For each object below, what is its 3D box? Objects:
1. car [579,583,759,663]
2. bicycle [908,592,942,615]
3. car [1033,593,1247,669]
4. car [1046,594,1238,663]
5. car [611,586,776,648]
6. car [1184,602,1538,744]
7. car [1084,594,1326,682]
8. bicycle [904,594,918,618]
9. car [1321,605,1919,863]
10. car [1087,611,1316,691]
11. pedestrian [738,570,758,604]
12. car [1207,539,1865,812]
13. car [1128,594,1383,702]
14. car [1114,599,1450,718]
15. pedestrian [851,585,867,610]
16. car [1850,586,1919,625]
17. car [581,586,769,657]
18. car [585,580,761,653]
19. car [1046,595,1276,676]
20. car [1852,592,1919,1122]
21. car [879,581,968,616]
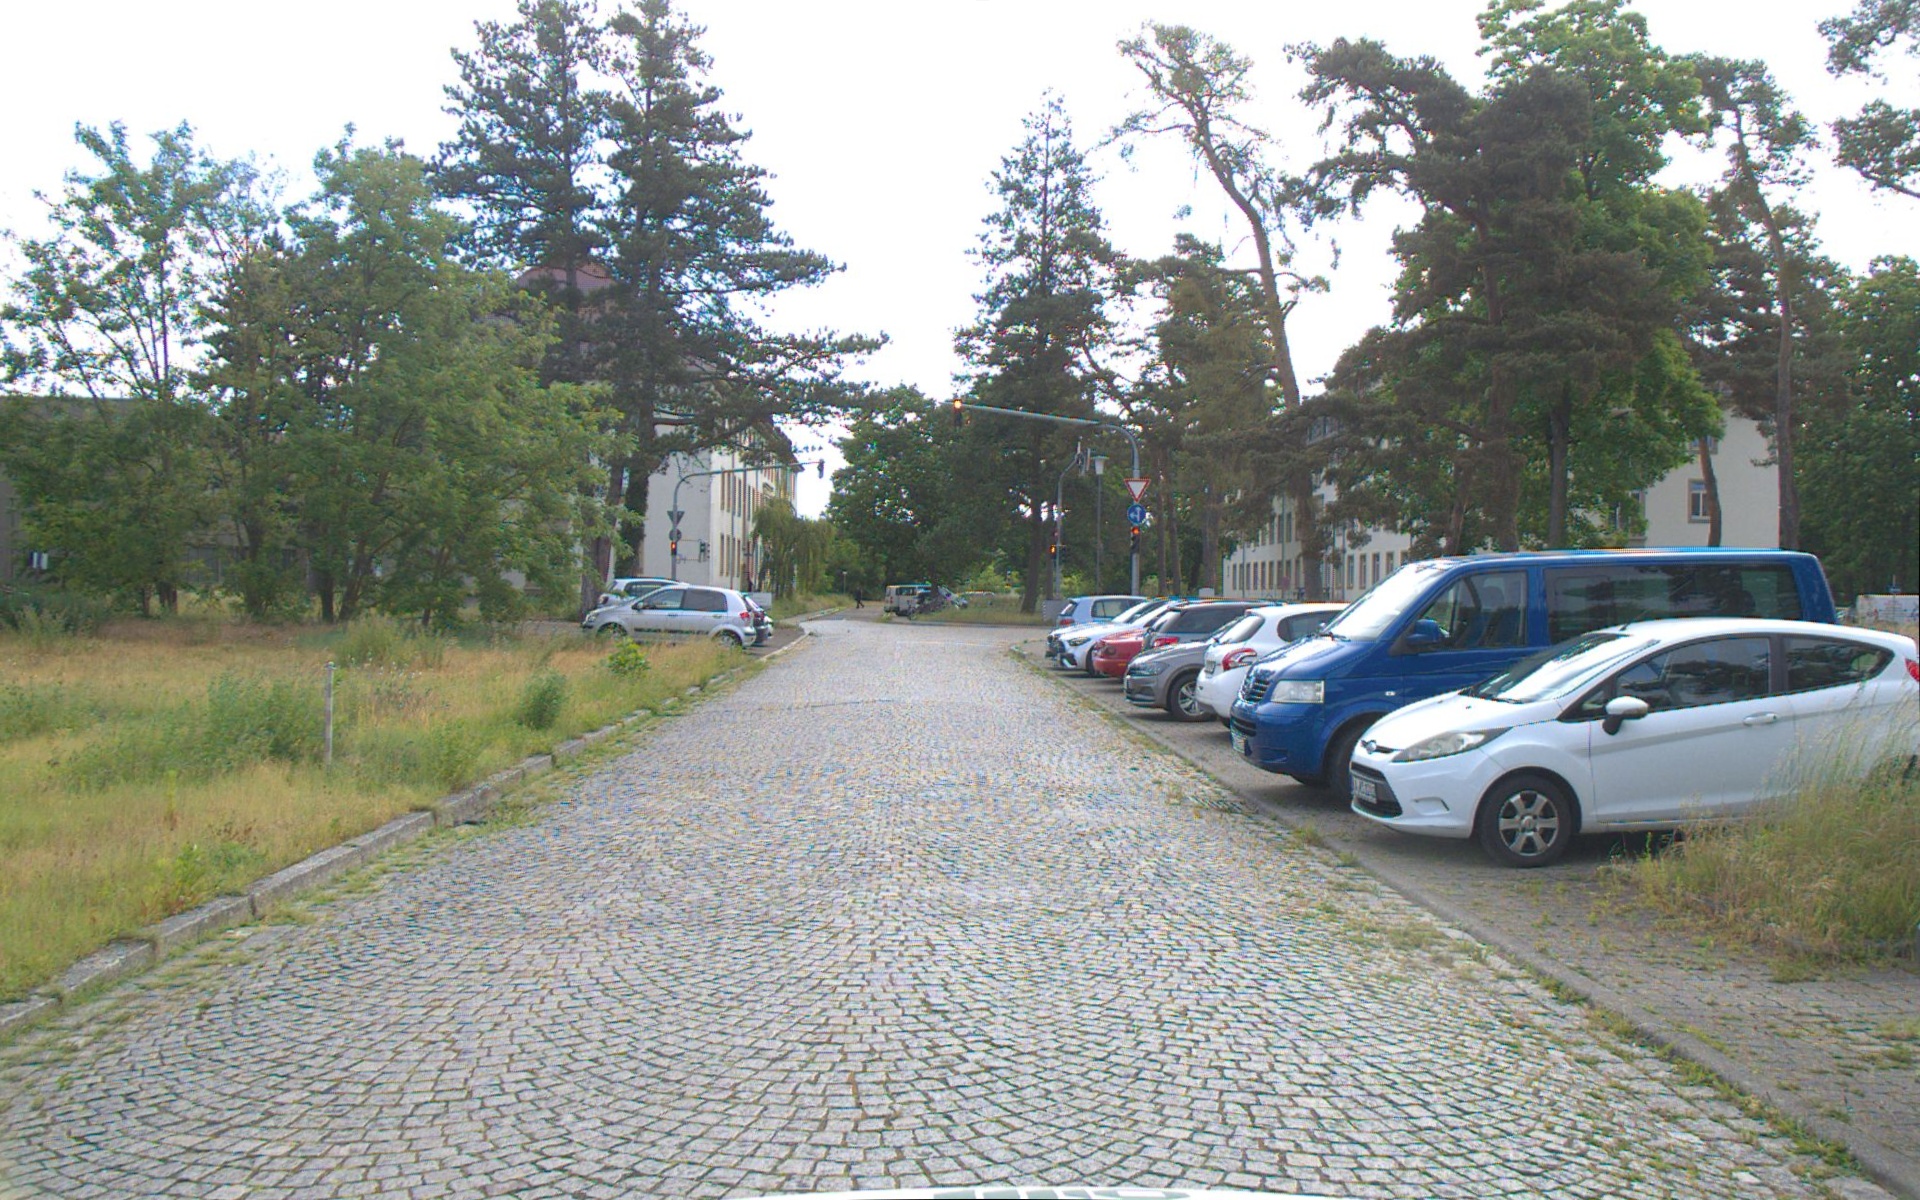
[{"bbox_3d":[-6.252,0.483,35.852,3.648,1.506,1.671,3,0,-5],"label":"car"},{"bbox_3d":[-1.969,0.177,92.602,1.846,1.191,0.664,2,0,-8],"label":"bicycle"},{"bbox_3d":[3.756,0.612,34.648,4.155,1.505,1.704,0,0,-13],"label":"car"},{"bbox_3d":[4.061,0.625,37.215,4.057,1.489,1.631,0,0,-8],"label":"car"},{"bbox_3d":[-6.997,0.431,43.680,4.217,1.581,1.809,0,0,-8],"label":"car"},{"bbox_3d":[4.477,0.784,18.802,3.580,1.504,1.765,0,0,-3],"label":"car"},{"bbox_3d":[4.325,0.647,29.540,4.024,1.502,1.683,0,0,-4],"label":"car"},{"bbox_3d":[-2.514,0.317,84.444,0.649,1.191,1.887,2,0,-2],"label":"bicycle"},{"bbox_3d":[4.609,0.806,10.950,4.018,1.504,1.720,0,0,-5],"label":"car"},{"bbox_3d":[3.918,0.819,27.180,3.514,1.244,1.628,0,0,-1],"label":"car"},{"bbox_3d":[-12.968,-0.798,101.154,1.053,1.993,1.121,2,0,-2],"label":"pedestrian"},{"bbox_3d":[4.542,0.548,13.493,4.701,2.039,1.965,0,0,-4],"label":"car"},{"bbox_3d":[4.332,0.684,24.570,3.435,1.513,1.742,0,0,-3],"label":"car"},{"bbox_3d":[4.139,0.731,21.694,4.047,1.472,1.765,0,0,-2],"label":"car"},{"bbox_3d":[-8.167,-0.227,133.578,1.216,1.993,1.119,2,0,-7],"label":"pedestrian"},{"bbox_3d":[52.893,0.337,92.359,5.193,2.055,2.105,2,0,-2],"label":"car"},{"bbox_3d":[-6.567,0.482,38.437,4.217,1.581,1.809,0,0,-8],"label":"car"},{"bbox_3d":[-7.092,0.398,41.221,4.217,1.762,1.650,0,0,-8],"label":"car"},{"bbox_3d":[3.837,0.654,31.883,4.108,1.462,1.751,0,0,-10],"label":"car"},{"bbox_3d":[5.041,0.791,4.608,4.121,1.623,1.951,0,0,-5],"label":"car"},{"bbox_3d":[-2.303,-0.091,103.900,5.286,2.138,2.170,1,0,-15],"label":"car"}]
